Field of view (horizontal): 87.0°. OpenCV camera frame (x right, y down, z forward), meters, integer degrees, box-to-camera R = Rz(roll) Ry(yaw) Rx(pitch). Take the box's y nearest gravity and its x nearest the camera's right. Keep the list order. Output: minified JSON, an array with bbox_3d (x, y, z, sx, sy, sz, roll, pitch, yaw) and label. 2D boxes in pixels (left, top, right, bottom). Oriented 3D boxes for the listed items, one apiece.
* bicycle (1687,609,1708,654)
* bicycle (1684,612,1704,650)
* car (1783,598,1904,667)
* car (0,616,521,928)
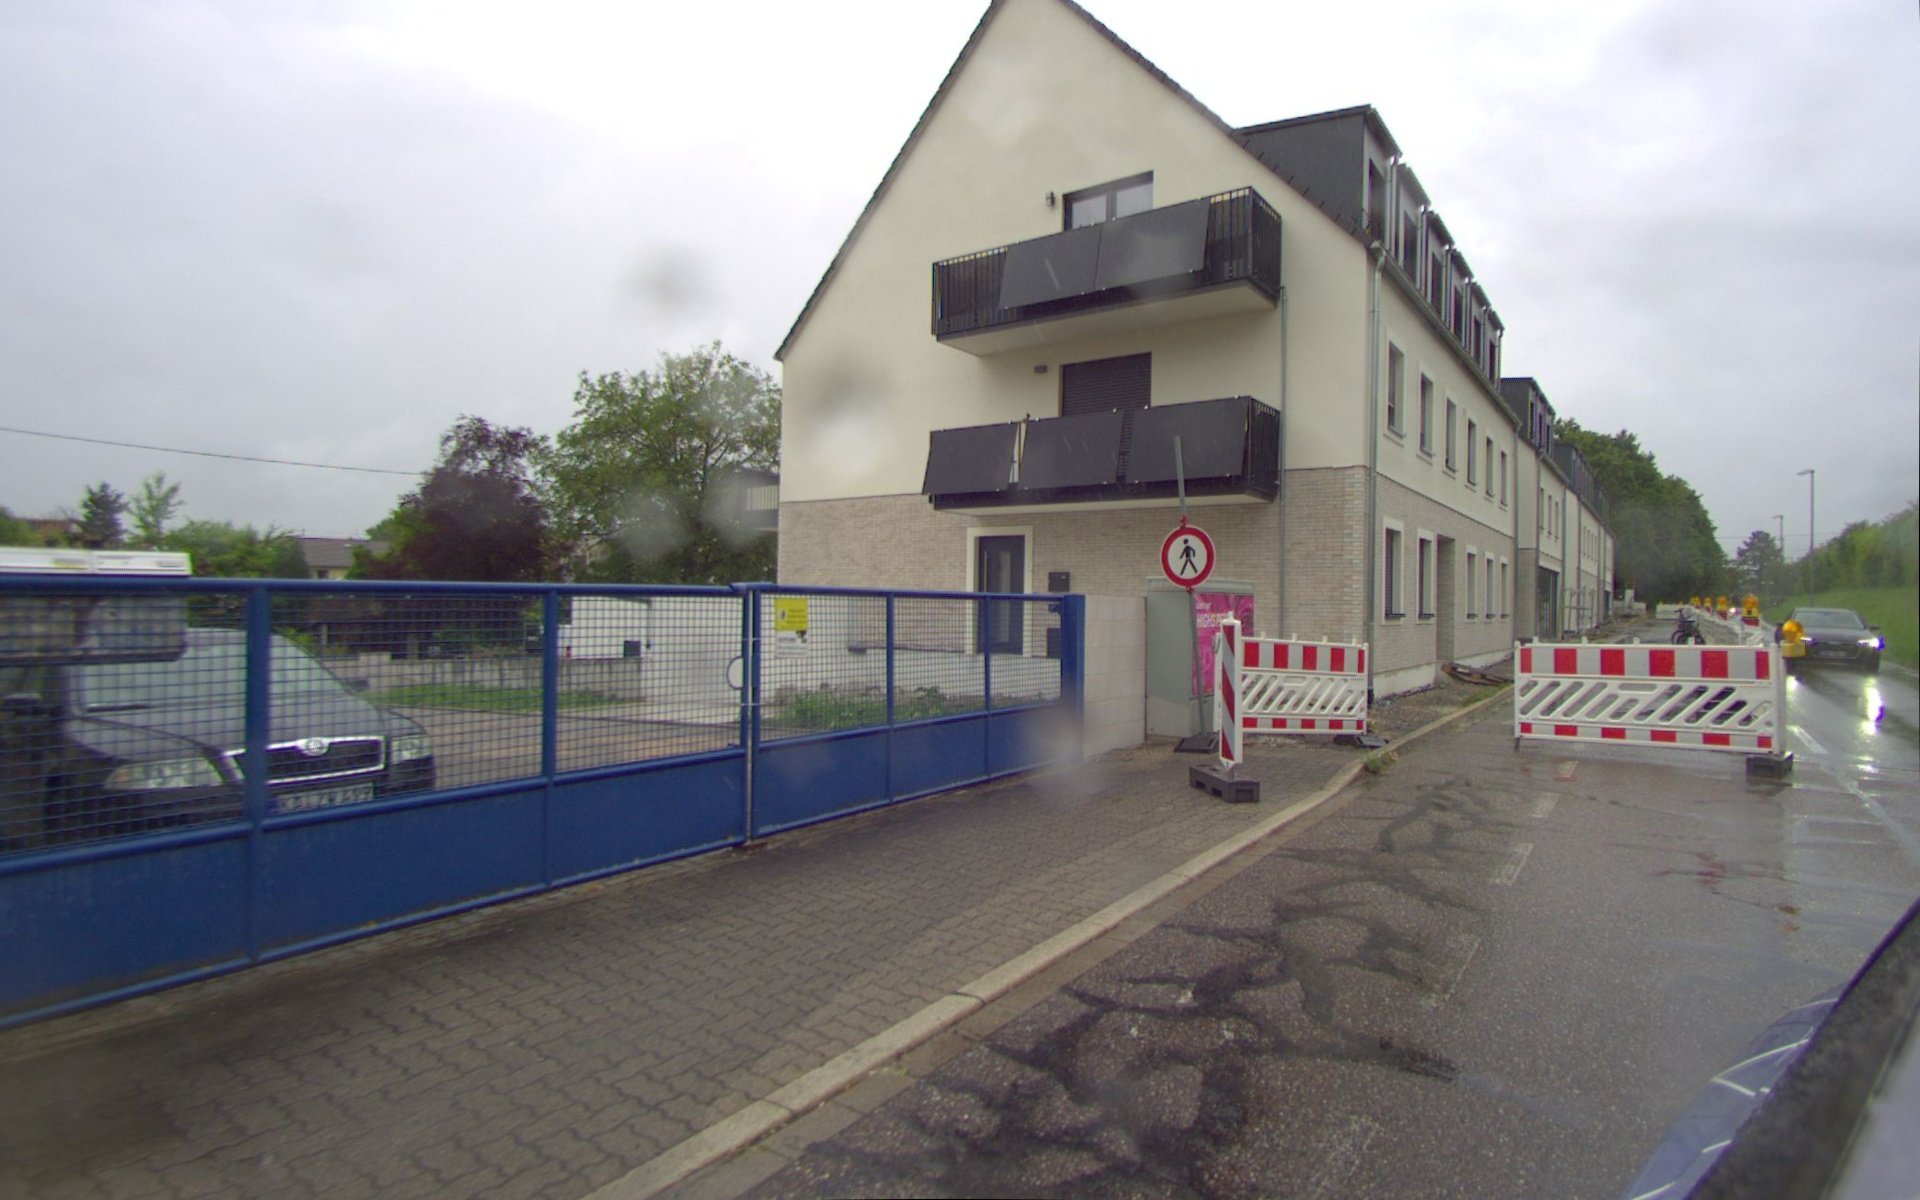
[{"bbox_3d":[20.086,0.851,27.566,0.405,1.157,1.204,2,1,38],"label":"bicycle"},{"bbox_3d":[21.318,0.884,29.399,0.405,1.041,1.204,2,2,38],"label":"bicycle"},{"bbox_3d":[21.943,0.727,25.297,1.842,1.470,4.473,2,2,36],"label":"car"},{"bbox_3d":[-4.796,0.857,6.405,4.131,1.319,1.887,-4,-2,36],"label":"car"}]
